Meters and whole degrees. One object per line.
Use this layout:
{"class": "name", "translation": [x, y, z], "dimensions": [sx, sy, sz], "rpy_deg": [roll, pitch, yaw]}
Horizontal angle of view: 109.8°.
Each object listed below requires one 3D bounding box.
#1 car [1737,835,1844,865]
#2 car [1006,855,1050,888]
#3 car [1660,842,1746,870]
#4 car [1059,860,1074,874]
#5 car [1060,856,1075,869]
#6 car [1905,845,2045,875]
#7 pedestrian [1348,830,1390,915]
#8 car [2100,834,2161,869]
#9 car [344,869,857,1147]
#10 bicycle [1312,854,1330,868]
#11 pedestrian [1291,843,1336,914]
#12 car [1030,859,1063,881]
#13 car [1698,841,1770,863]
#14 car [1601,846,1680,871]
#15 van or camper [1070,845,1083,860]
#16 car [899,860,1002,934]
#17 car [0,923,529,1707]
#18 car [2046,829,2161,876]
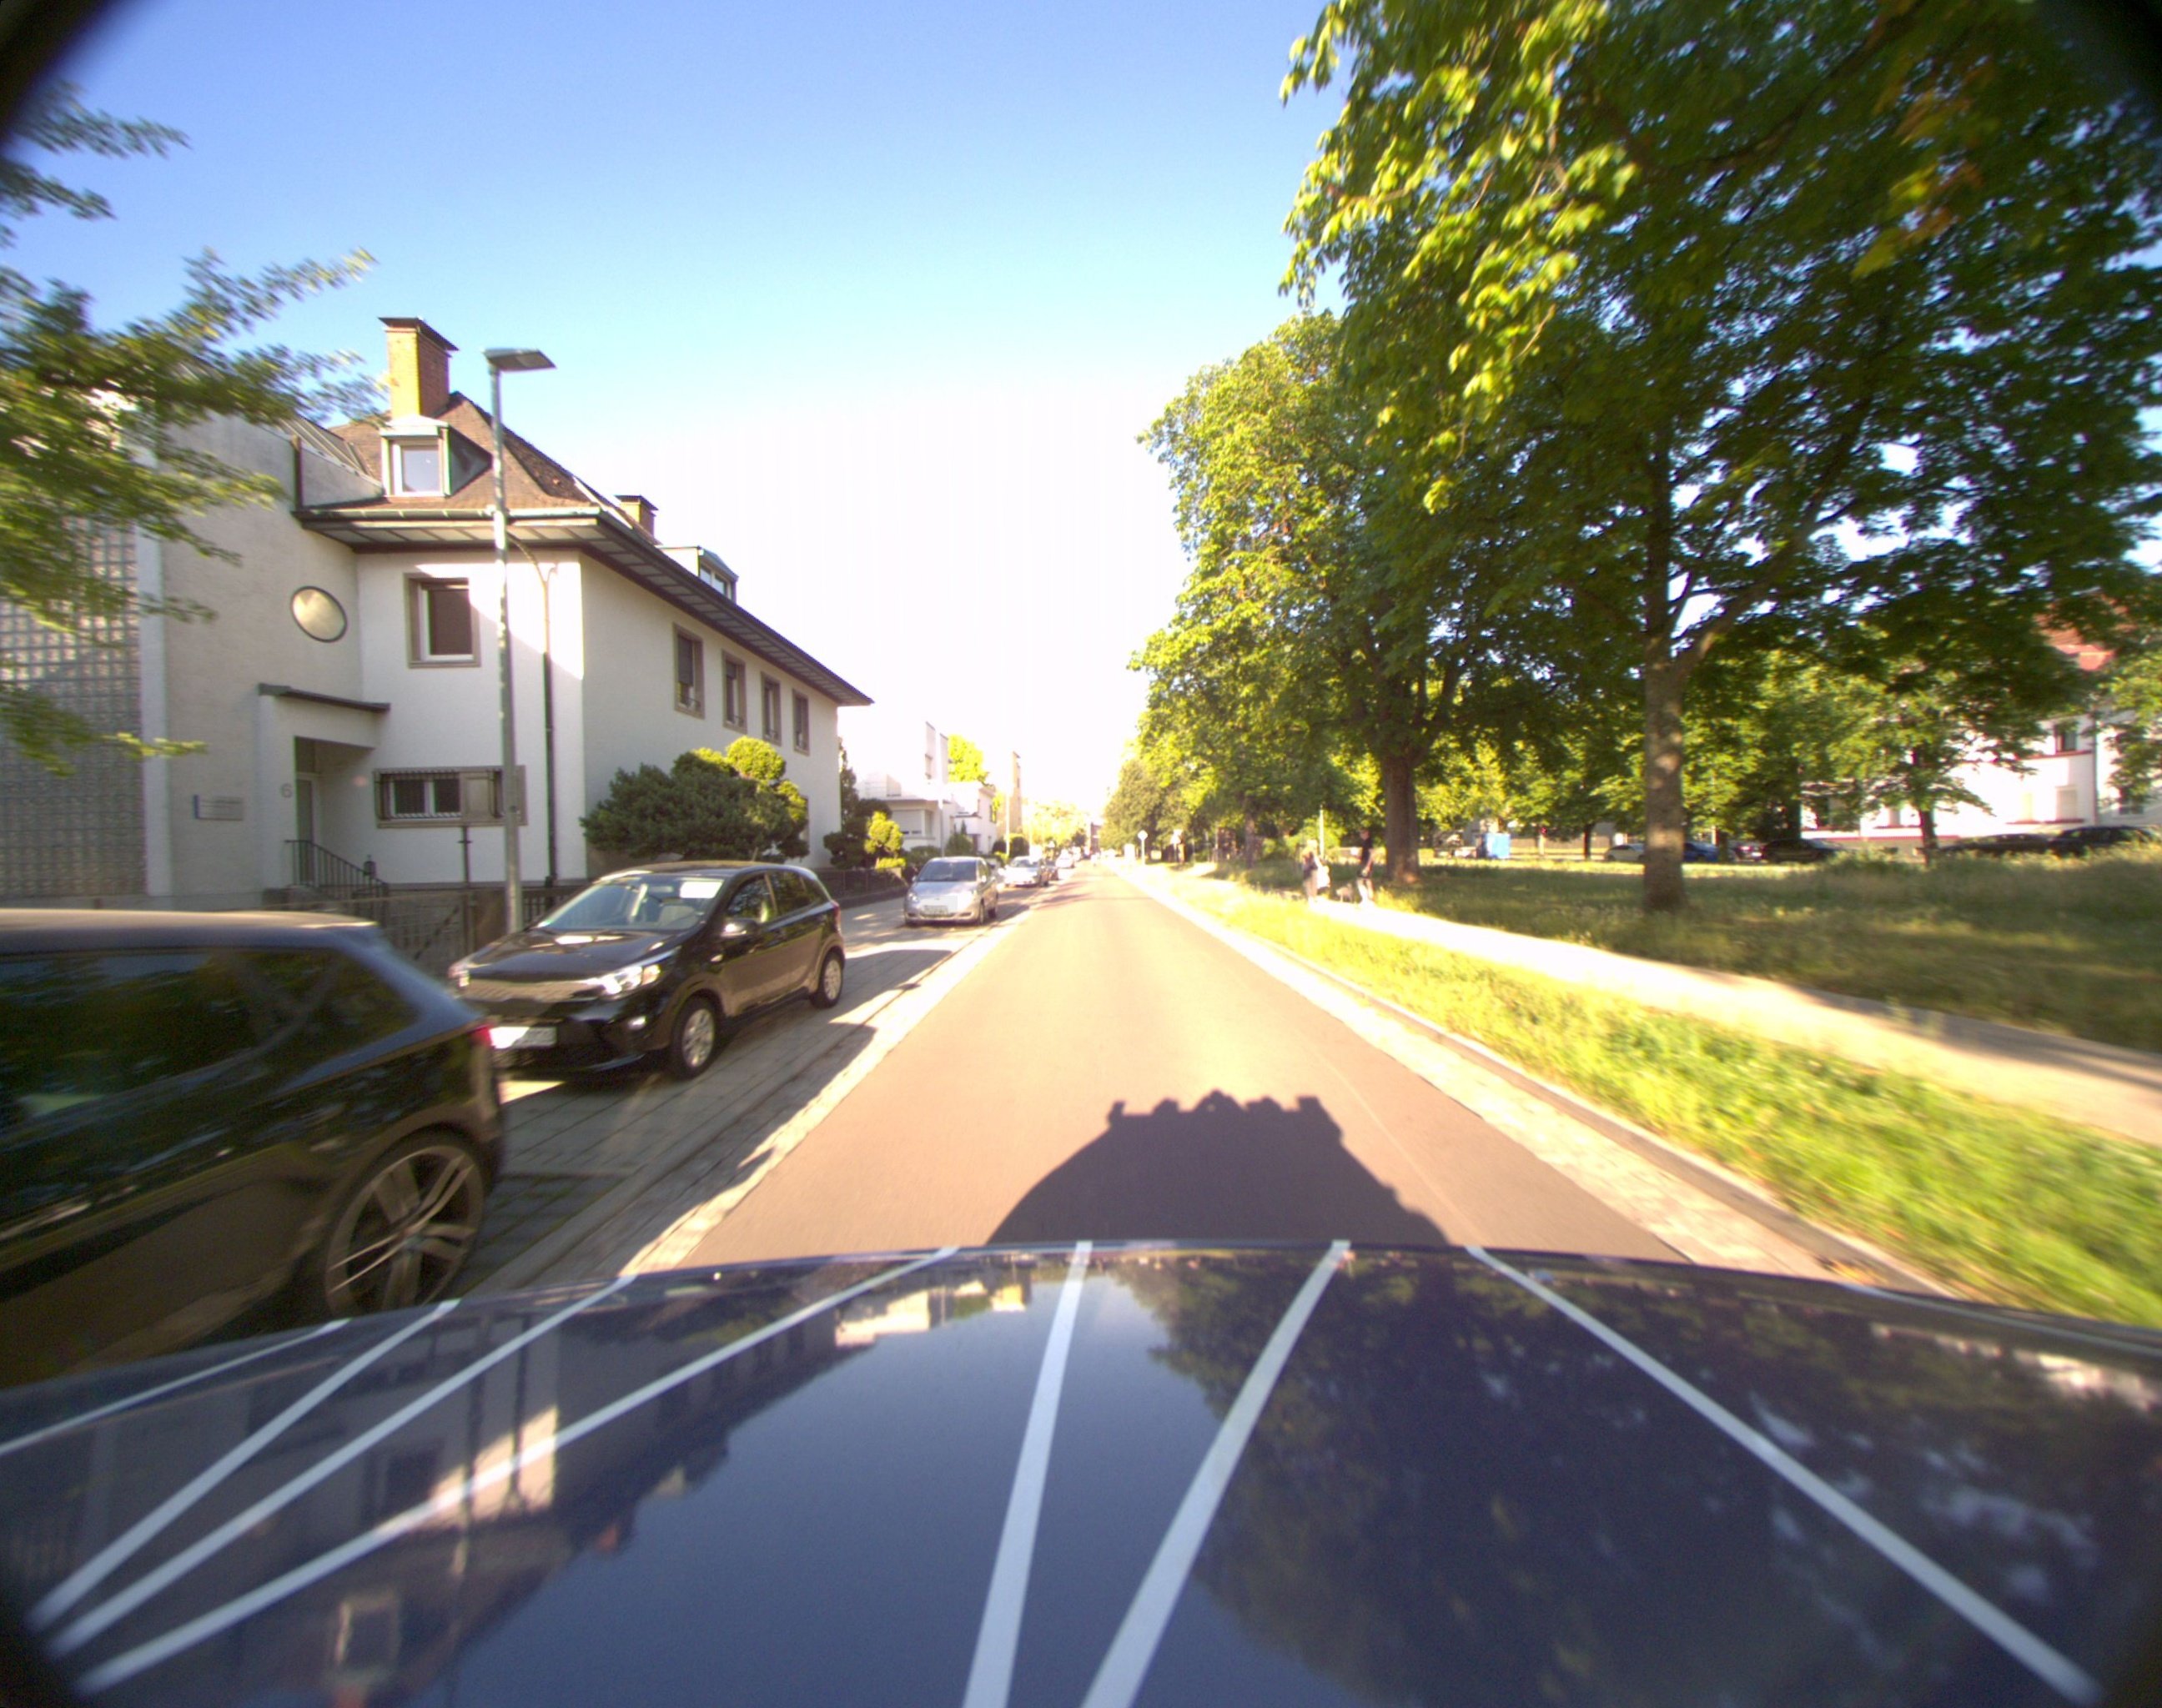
{"class": "car", "translation": [37.647, -0.178, 40.454], "dimensions": [1.697, 1.468, 4.221], "rpy_deg": [-2, 0, -1]}
{"class": "car", "translation": [-2.526, 0.815, 37.023], "dimensions": [1.748, 1.465, 3.922], "rpy_deg": [2, 0, 1]}
{"class": "car", "translation": [38.079, 0.111, 46.641], "dimensions": [1.697, 1.588, 4.220], "rpy_deg": [-2, 0, -2]}
{"class": "car", "translation": [-1.713, 1.561, 90.887], "dimensions": [1.682, 1.546, 4.130], "rpy_deg": [0, 0, 2]}
{"class": "car", "translation": [-1.491, 0.892, 84.795], "dimensions": [1.567, 1.382, 4.374], "rpy_deg": [0, 0, 1]}
{"class": "car", "translation": [42.809, 0.268, 36.557], "dimensions": [1.574, 1.324, 4.481], "rpy_deg": [-2, 0, 2]}
{"class": "pedestrian", "translation": [6.396, 0.404, 16.921], "dimensions": [0.625, 1.820, 0.886], "rpy_deg": [-1, 0, 4]}
{"class": "car", "translation": [42.641, -0.109, 29.002], "dimensions": [1.574, 1.324, 4.479], "rpy_deg": [-2, 0, 2]}
{"class": "car", "translation": [-3.349, 0.921, 6.260], "dimensions": [1.661, 1.485, 3.717], "rpy_deg": [0, 1, 5]}
{"class": "bicycle", "translation": [20.841, 0.615, 65.873], "dimensions": [1.591, 1.180, 0.419], "rpy_deg": [-1, 1, -22]}
{"class": "pedestrian", "translation": [5.442, 0.556, 17.833], "dimensions": [0.785, 1.605, 0.952], "rpy_deg": [-1, 0, 4]}
{"class": "car", "translation": [-2.175, 1.005, 48.864], "dimensions": [1.779, 1.281, 4.273], "rpy_deg": [2, -1, 1]}
{"class": "car", "translation": [43.238, -0.112, 50.417], "dimensions": [1.574, 1.324, 3.852], "rpy_deg": [-2, 0, 2]}
{"class": "car", "translation": [38.060, 0.310, 51.848], "dimensions": [1.697, 1.588, 4.756], "rpy_deg": [-2, 0, -2]}
{"class": "van or camper", "translation": [-0.829, -0.237, 144.760], "dimensions": [2.427, 2.766, 5.952], "rpy_deg": [1, 0, 0]}
{"class": "car", "translation": [-2.881, 0.897, 17.466], "dimensions": [1.631, 1.496, 3.633], "rpy_deg": [1, 0, 2]}
{"class": "car", "translation": [-3.057, 1.015, 0.909], "dimensions": [1.741, 1.440, 4.196], "rpy_deg": [0, 1, 0]}
{"class": "car", "translation": [37.630, -0.078, 26.833], "dimensions": [1.697, 1.588, 4.221], "rpy_deg": [-2, 0, 0]}
